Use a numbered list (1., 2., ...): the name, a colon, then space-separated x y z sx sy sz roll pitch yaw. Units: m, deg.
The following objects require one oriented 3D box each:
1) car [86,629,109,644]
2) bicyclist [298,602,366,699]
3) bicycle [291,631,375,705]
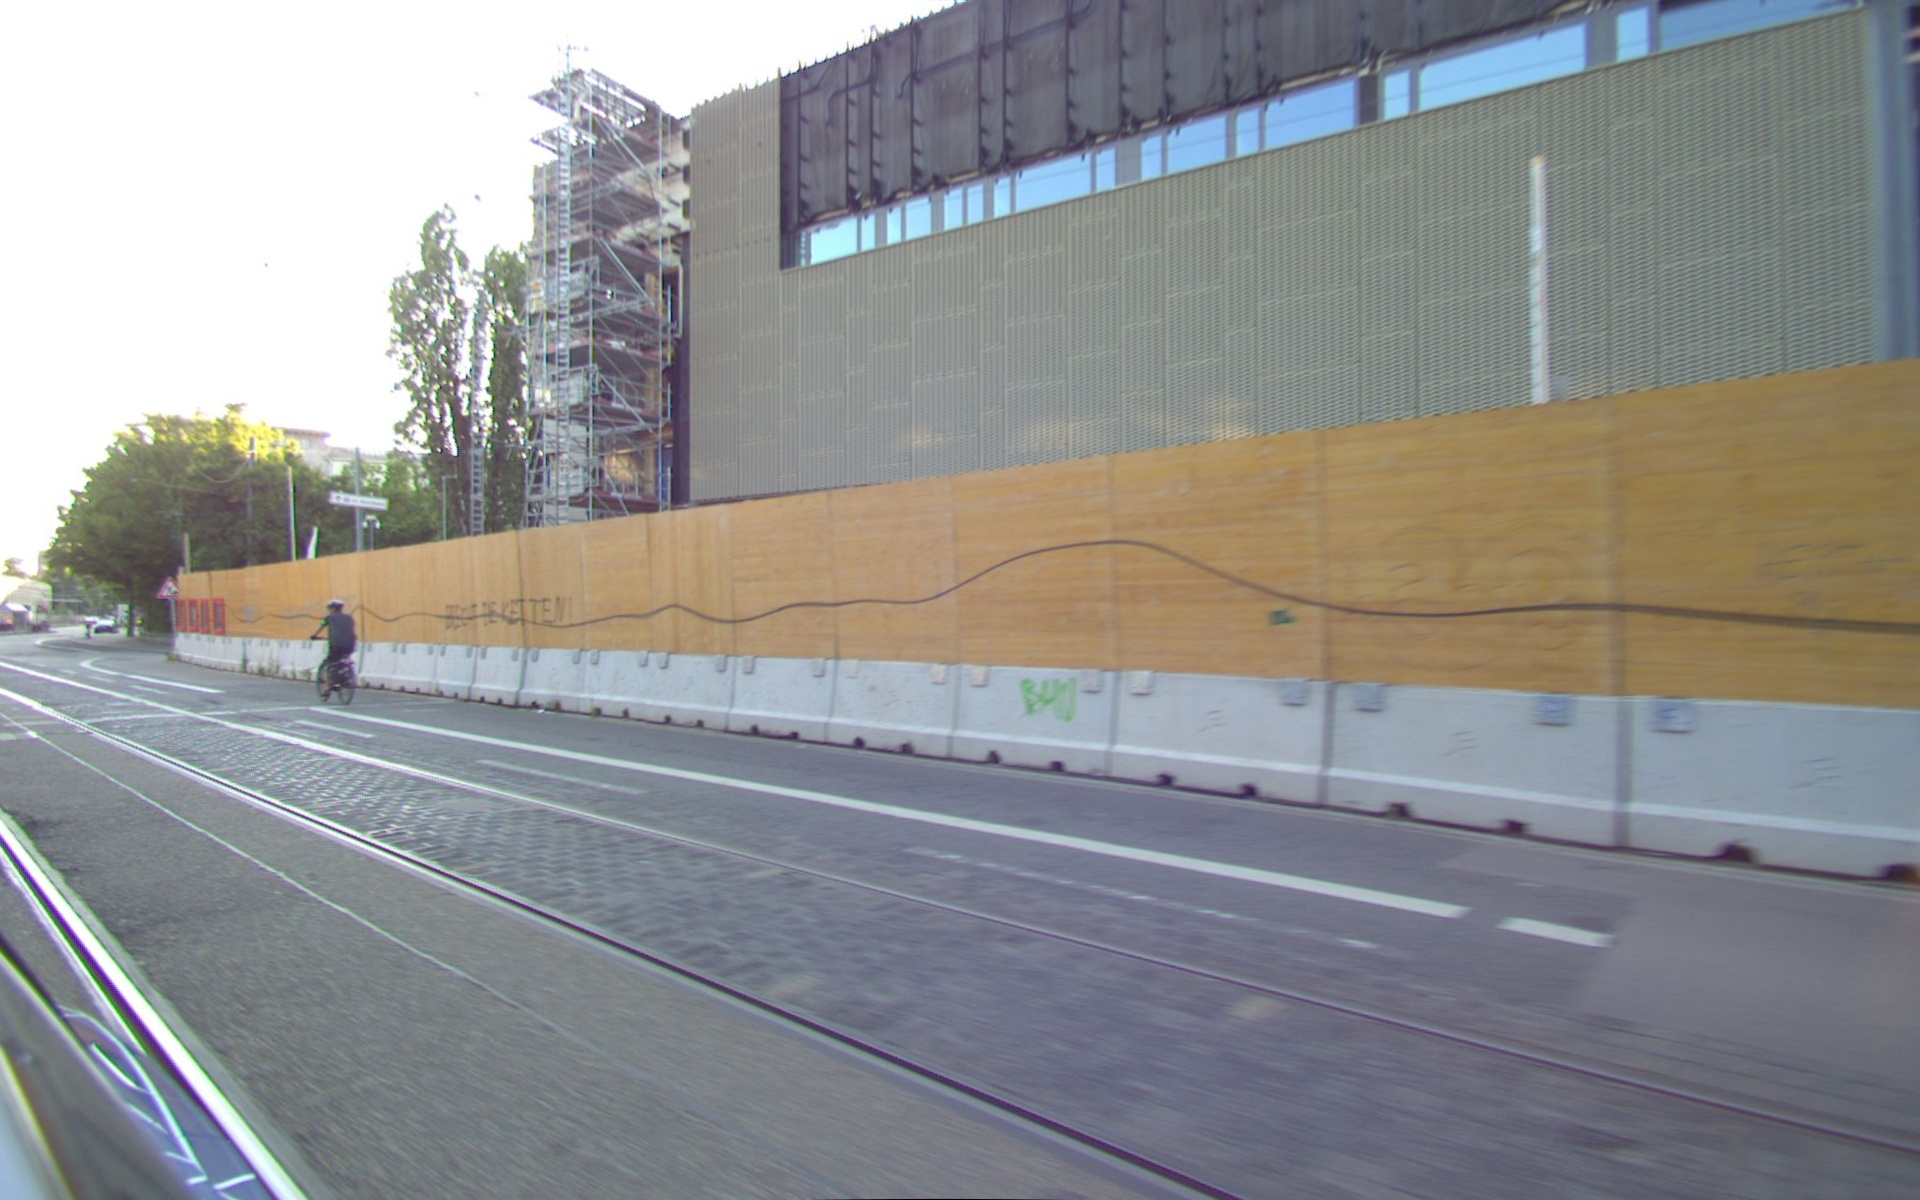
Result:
1. car: -104.210 4.393 122.259 1.968 1.697 4.007 0 -2 -39
2. bicyclist: -11.222 0.887 18.082 1.018 1.678 0.760 -2 -2 41
3. bicycle: -11.204 1.186 18.060 1.935 1.237 0.760 -1 -2 42
